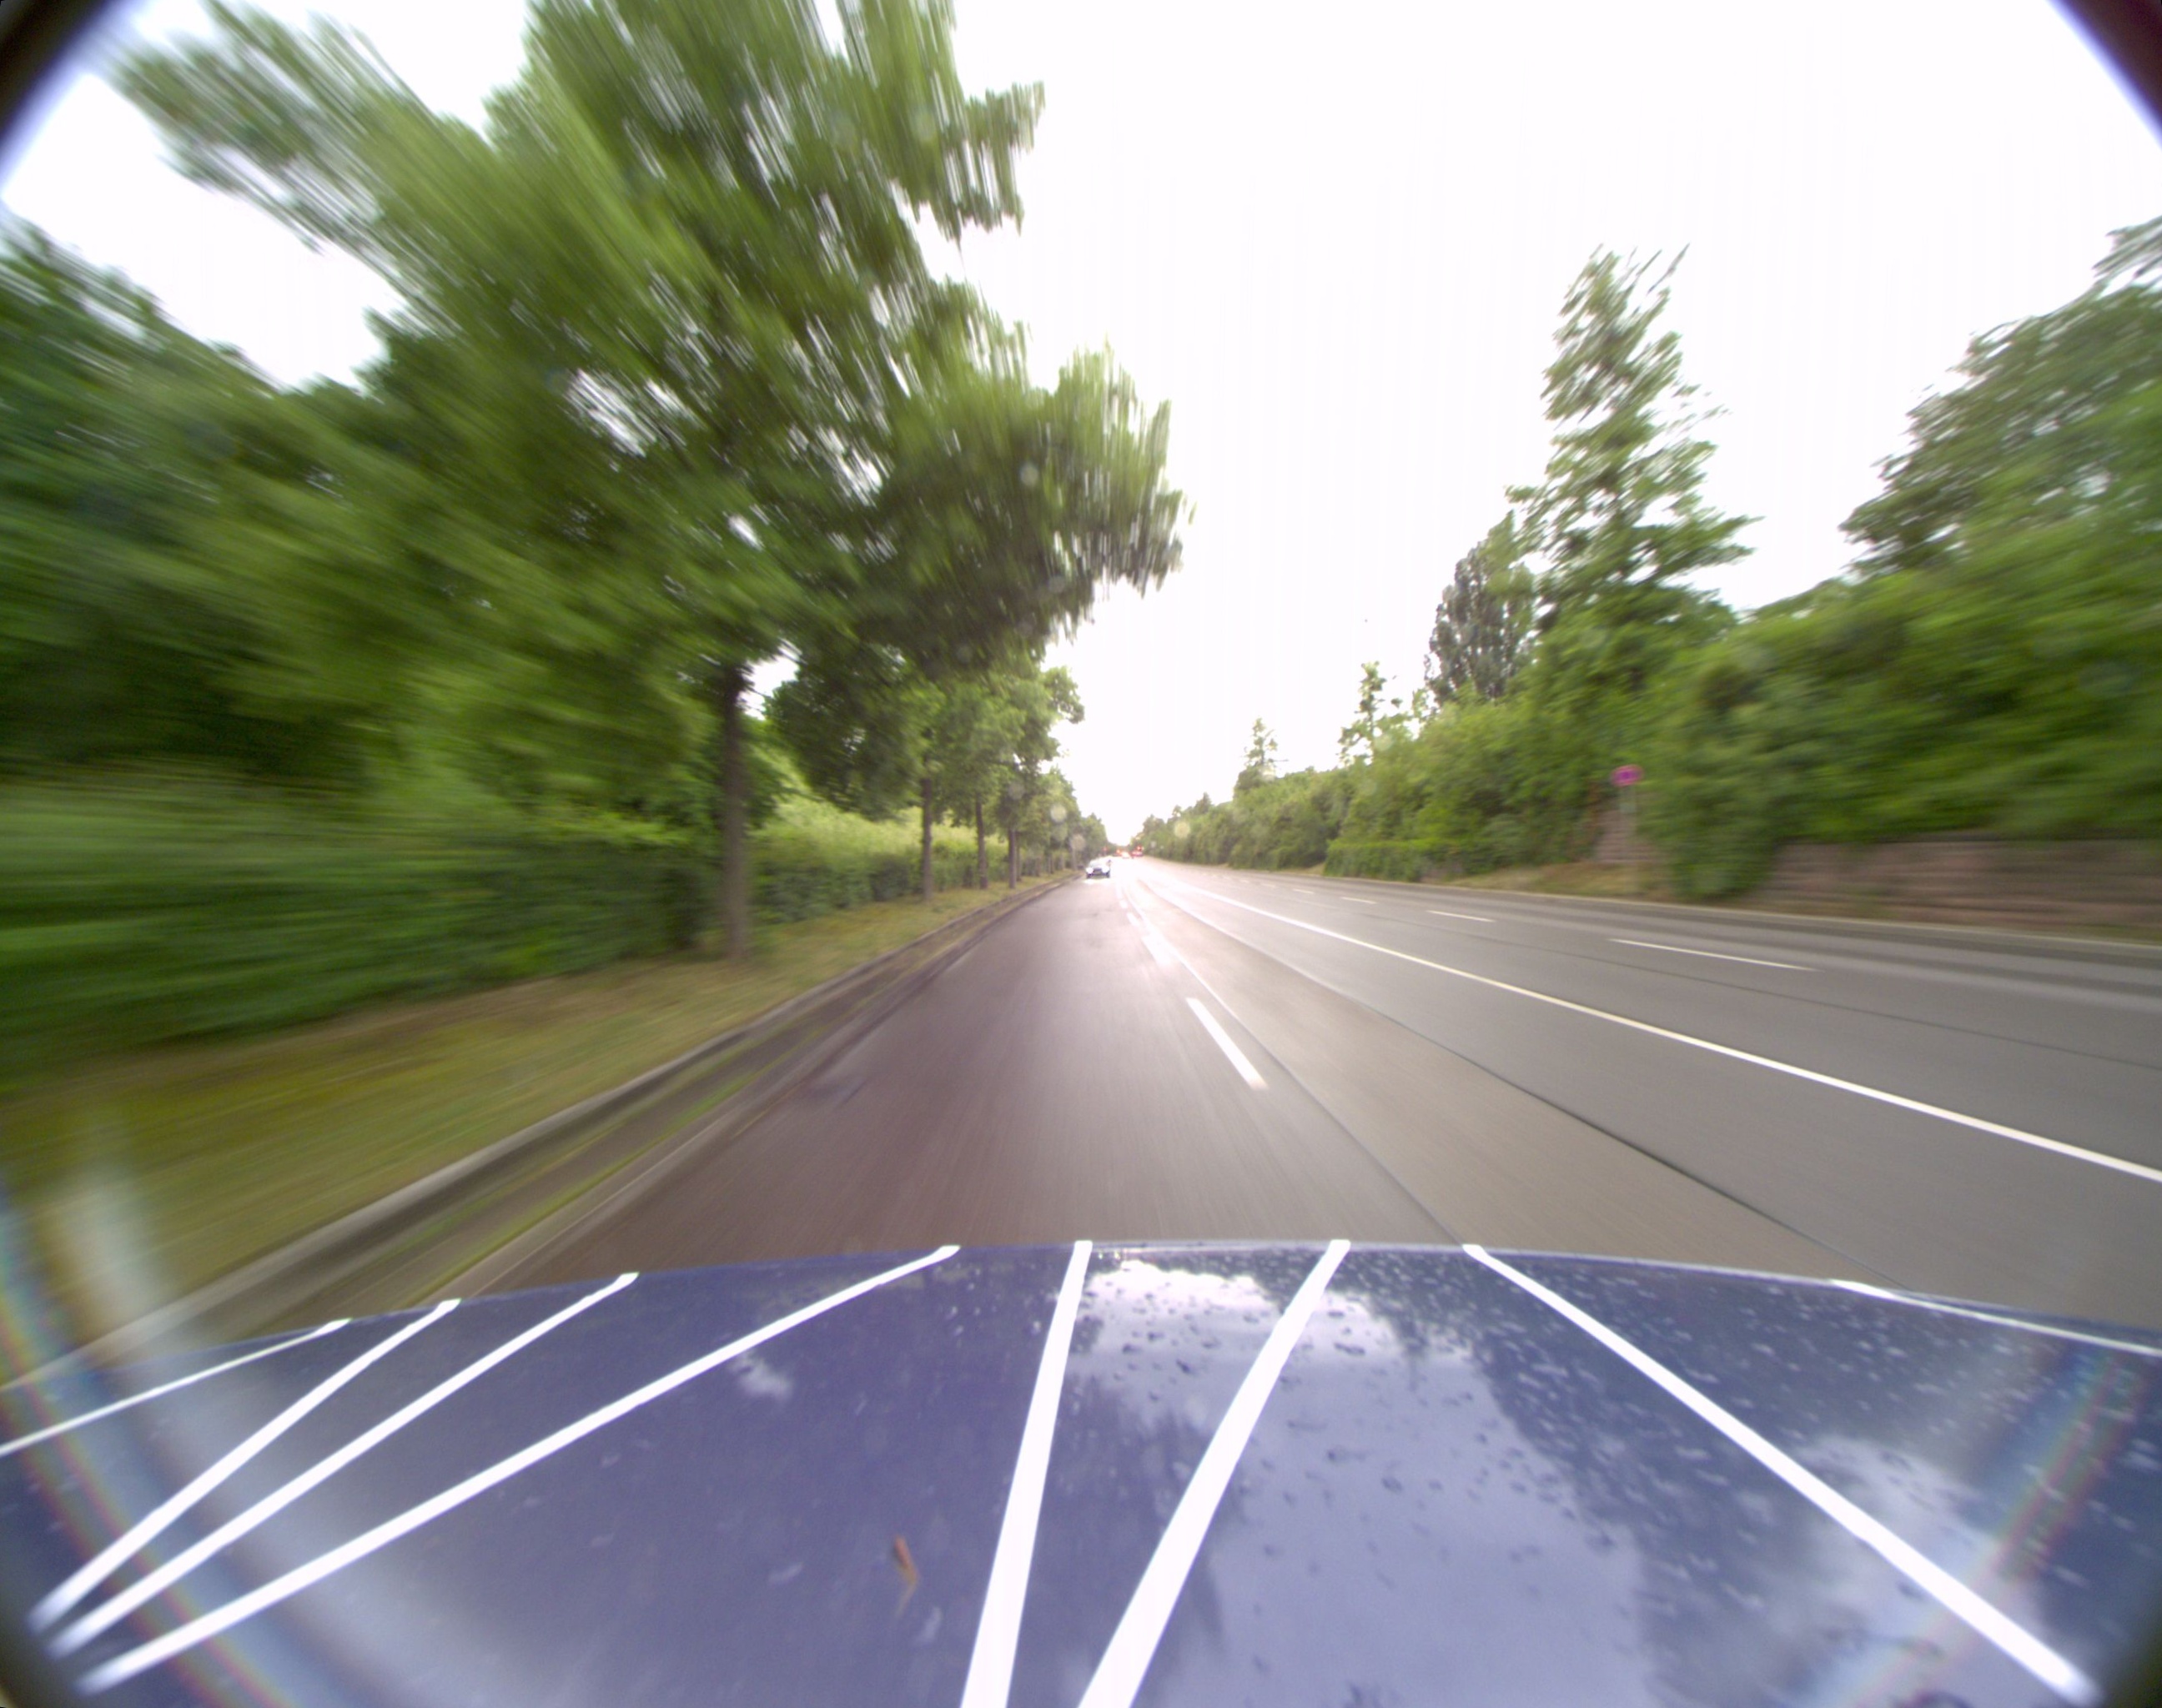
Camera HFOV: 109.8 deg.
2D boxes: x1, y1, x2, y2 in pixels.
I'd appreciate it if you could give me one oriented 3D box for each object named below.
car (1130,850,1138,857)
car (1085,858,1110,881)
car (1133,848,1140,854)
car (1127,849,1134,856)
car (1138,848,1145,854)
[{"bbox_3d":[14.187,-0.212,204.122,1.930,1.805,4.000,-2,1,1],"label":"car"},{"bbox_3d":[1.282,1.184,59.750,1.824,1.547,4.000,-2,1,1],"label":"car"},{"bbox_3d":[18.886,-1.095,257.536,1.930,1.805,4.000,-2,1,1],"label":"car"},{"bbox_3d":[13.939,-0.334,214.515,1.930,1.805,4.000,-2,1,1],"label":"car"},{"bbox_3d":[18.766,-0.819,236.300,1.930,1.805,4.000,-2,1,1],"label":"car"}]
